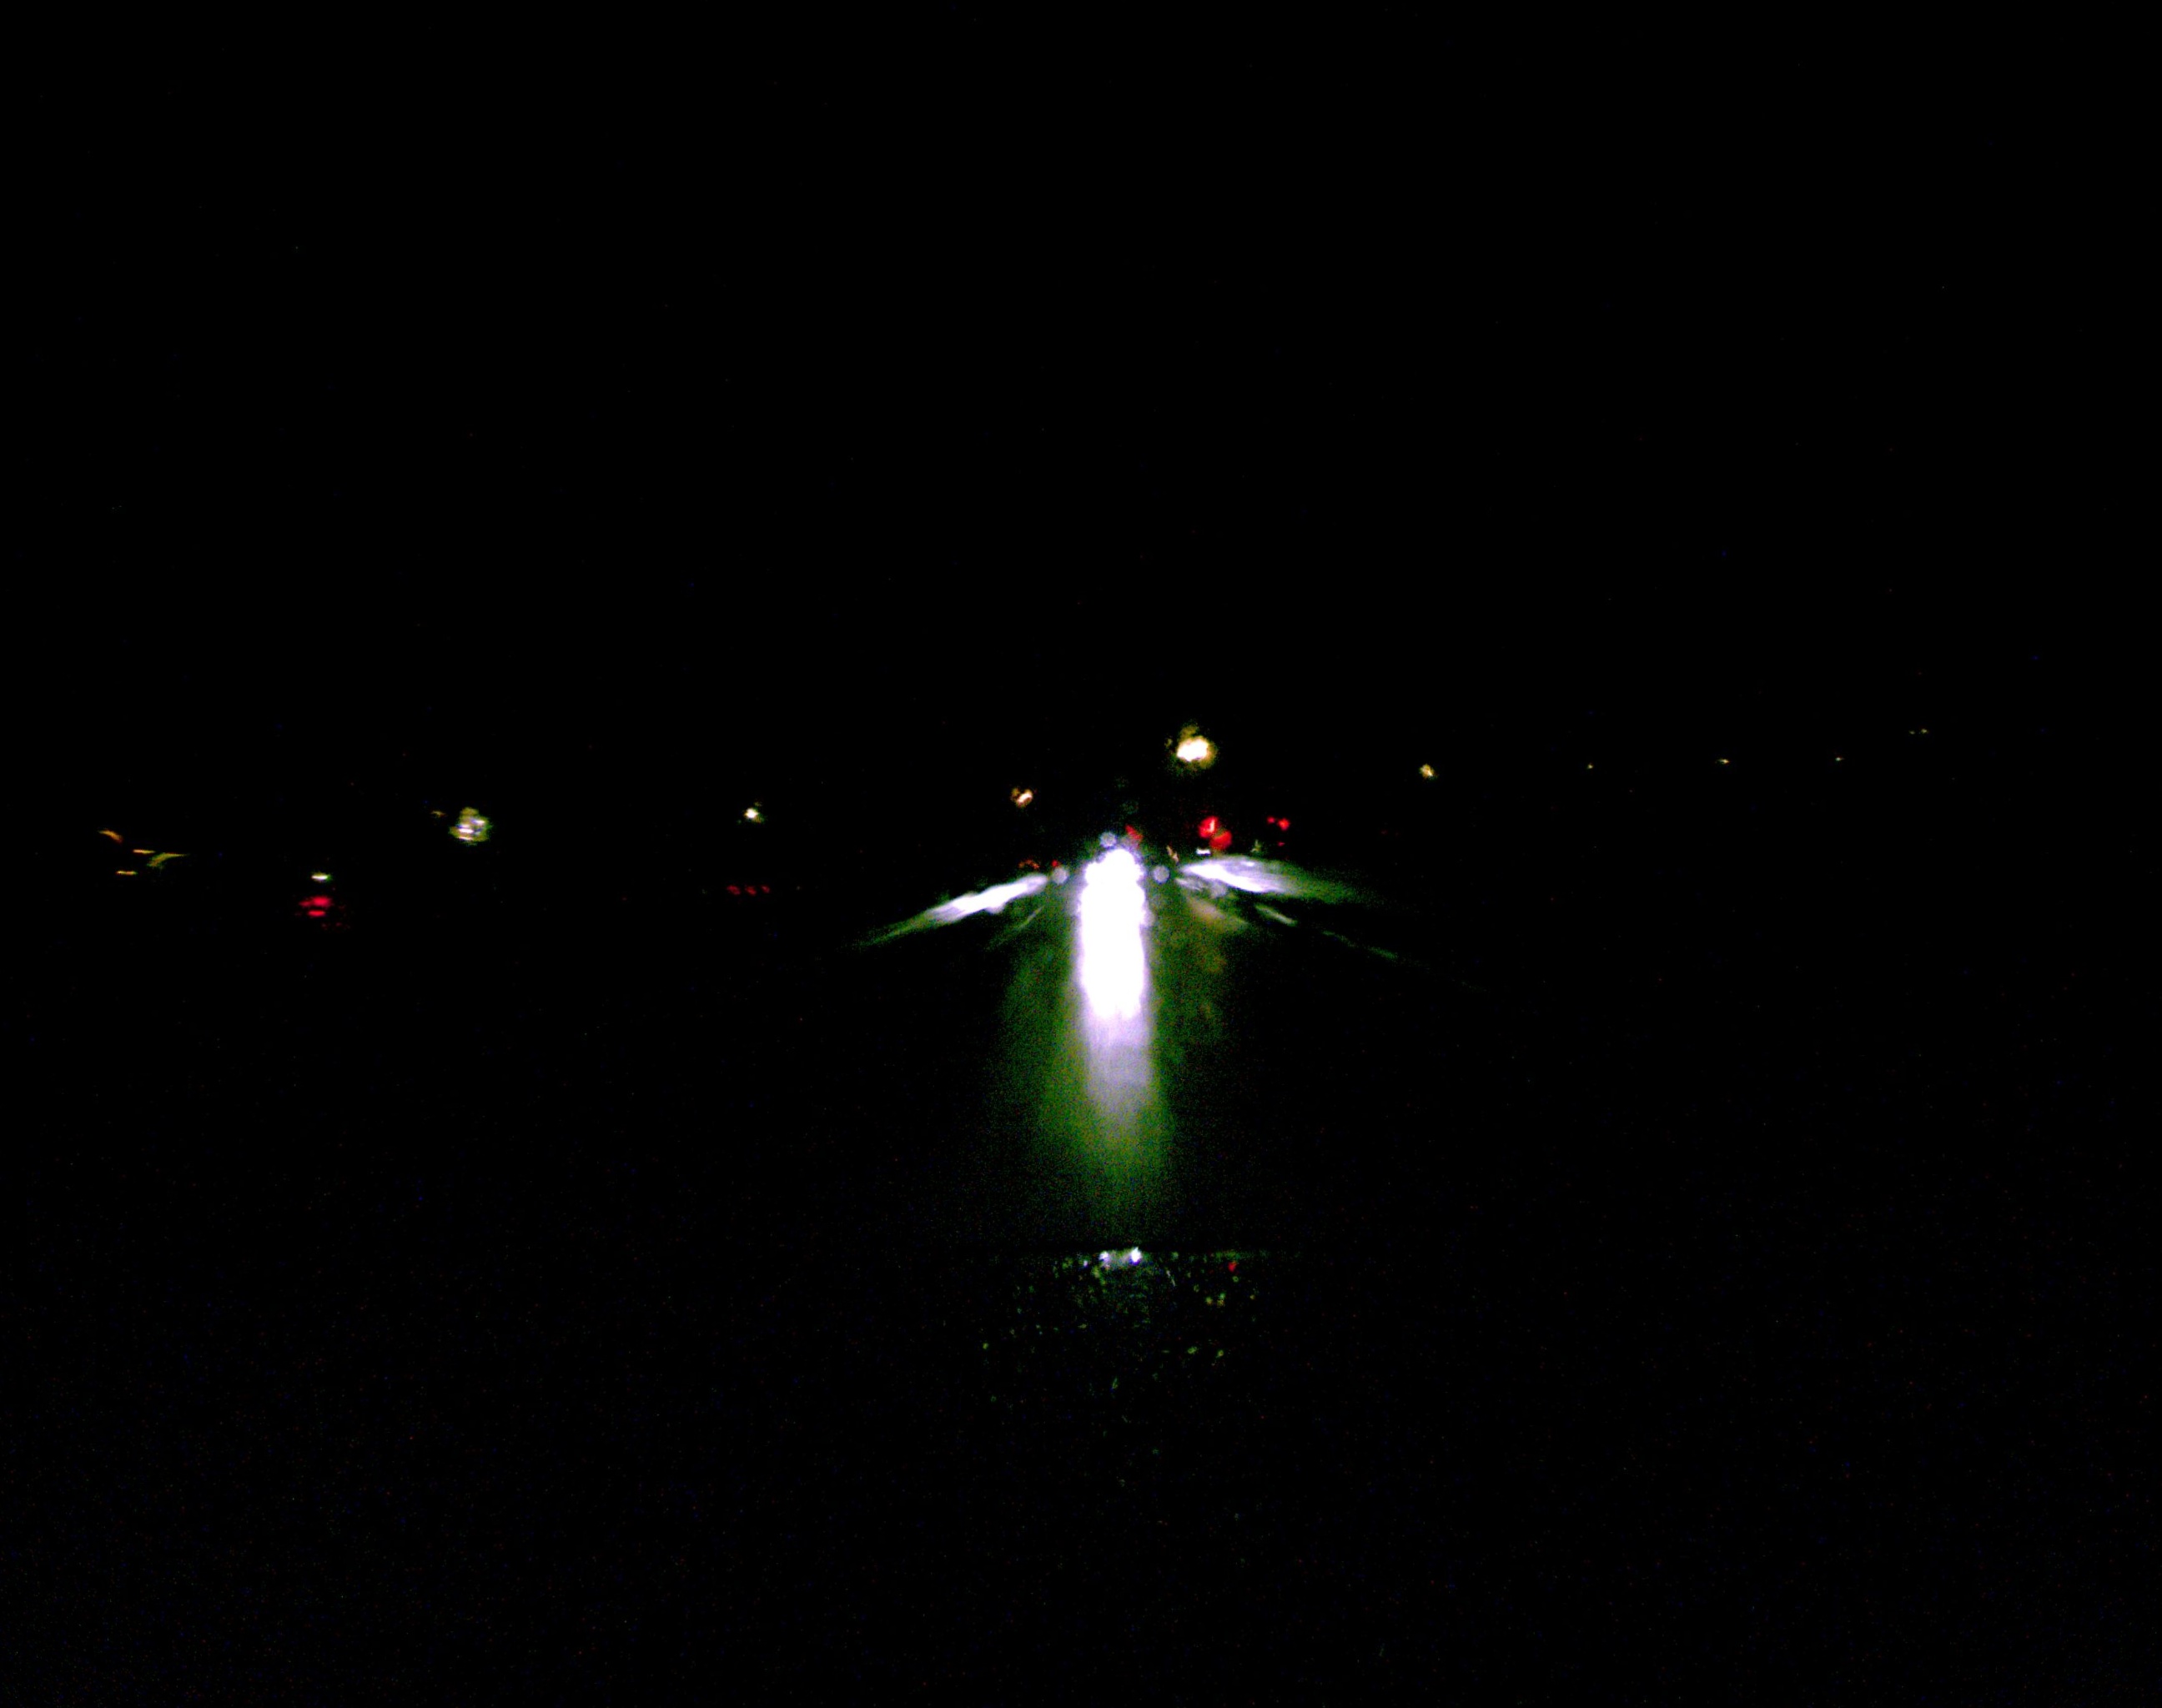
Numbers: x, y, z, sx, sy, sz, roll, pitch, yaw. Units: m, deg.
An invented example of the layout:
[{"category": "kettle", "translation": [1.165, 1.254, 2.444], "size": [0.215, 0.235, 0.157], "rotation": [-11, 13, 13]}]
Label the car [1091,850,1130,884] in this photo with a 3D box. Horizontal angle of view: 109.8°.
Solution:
[{"category": "car", "translation": [1.730, 0.735, 45.599], "size": [1.999, 1.737, 4.099], "rotation": [-5, 0, 0]}]

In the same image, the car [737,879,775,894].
[{"category": "car", "translation": [-40.393, 4.013, 94.483], "size": [4.001, 1.432, 1.717], "rotation": [-5, -1, -15]}]

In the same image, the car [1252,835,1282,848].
[{"category": "car", "translation": [28.198, -1.897, 115.328], "size": [4.001, 1.432, 1.717], "rotation": [-5, -1, -15]}]

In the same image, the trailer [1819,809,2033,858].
[{"category": "trailer", "translation": [81.676, -1.793, 74.156], "size": [2.602, 3.703, 13.630], "rotation": [-5, -1, -24]}]

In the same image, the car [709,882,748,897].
[{"category": "car", "translation": [-42.283, 4.282, 91.209], "size": [4.001, 1.432, 1.717], "rotation": [-5, -1, -15]}]

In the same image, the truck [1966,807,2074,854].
[{"category": "truck", "translation": [84.307, -2.073, 68.318], "size": [2.599, 3.689, 5.449], "rotation": [-5, 0, -25]}]
